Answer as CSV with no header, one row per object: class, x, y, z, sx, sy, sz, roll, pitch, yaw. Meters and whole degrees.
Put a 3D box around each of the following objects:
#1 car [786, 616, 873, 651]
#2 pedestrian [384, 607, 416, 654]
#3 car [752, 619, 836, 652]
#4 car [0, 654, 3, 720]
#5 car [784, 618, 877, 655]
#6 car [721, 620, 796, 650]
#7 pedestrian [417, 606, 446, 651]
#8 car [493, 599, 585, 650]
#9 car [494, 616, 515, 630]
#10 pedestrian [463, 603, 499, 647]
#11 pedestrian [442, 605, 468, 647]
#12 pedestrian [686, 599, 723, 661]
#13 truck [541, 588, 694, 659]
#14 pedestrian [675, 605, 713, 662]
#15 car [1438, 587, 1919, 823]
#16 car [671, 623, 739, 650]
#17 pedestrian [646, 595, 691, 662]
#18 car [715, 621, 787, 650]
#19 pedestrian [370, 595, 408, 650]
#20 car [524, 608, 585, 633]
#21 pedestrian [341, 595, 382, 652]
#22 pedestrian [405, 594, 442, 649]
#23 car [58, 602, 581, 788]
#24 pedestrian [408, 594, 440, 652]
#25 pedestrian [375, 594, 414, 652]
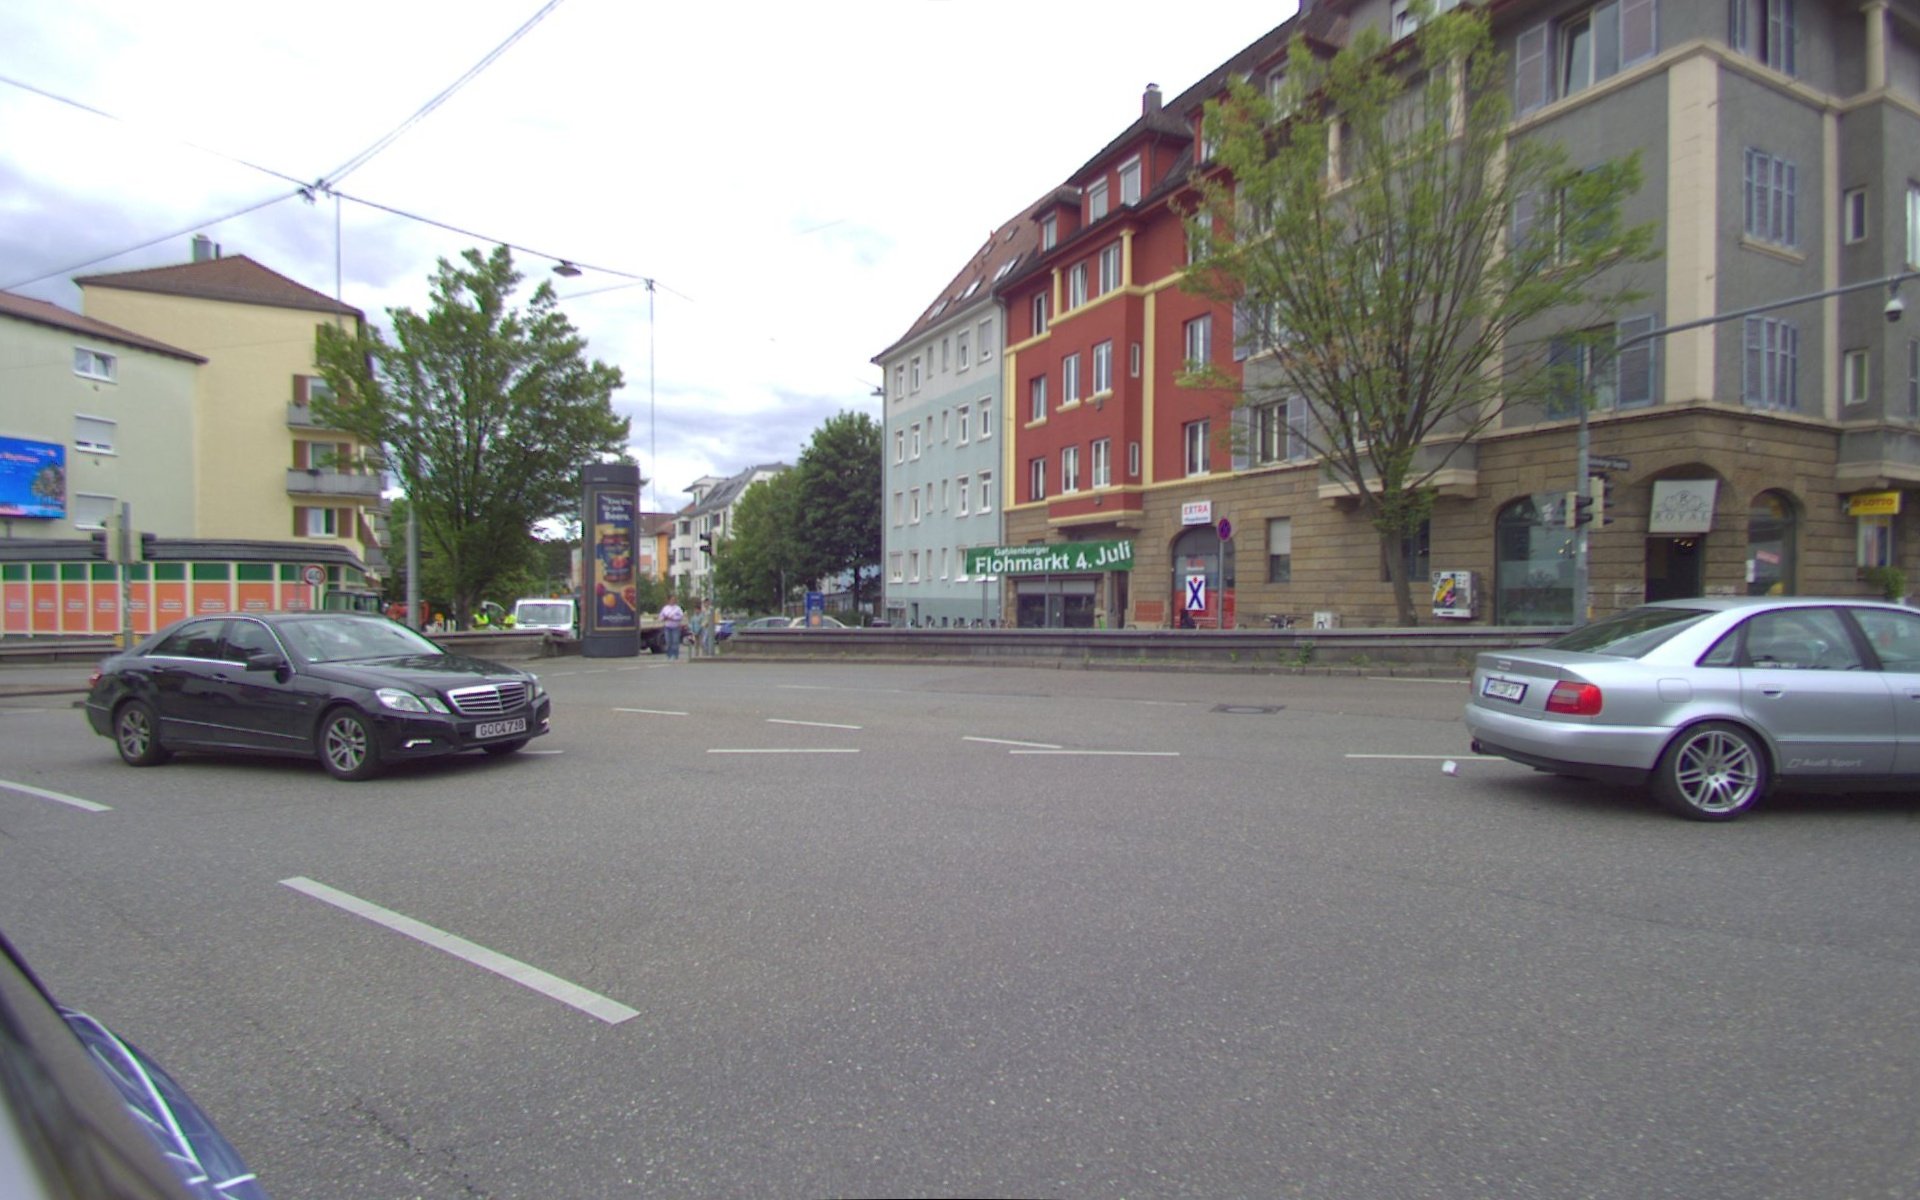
car,-6.444,1.655,50.068,3.889,1.611,1.887,-1,0,10
pedestrian,-19.624,1.055,35.489,0.853,1.631,0.921,-1,0,-23
car,-8.616,1.827,52.634,3.889,1.611,1.887,-1,0,10
car,-16.428,0.951,15.214,4.714,1.626,1.839,0,2,33
car,-5.988,1.673,46.941,3.889,1.611,1.887,-1,0,10
car,-11.510,2.002,57.840,3.880,1.611,1.892,-1,0,2
pedestrian,-19.760,1.038,37.854,0.853,1.631,0.921,-1,0,-23
car,-14.208,0.772,34.429,2.176,1.583,4.489,-1,0,-13
car,-56.727,2.798,126.118,1.861,1.611,3.945,-1,0,-18
pedestrian,-21.979,1.120,46.430,1.263,1.973,0.919,-1,0,31
pedestrian,-20.325,1.023,40.732,0.853,1.631,1.216,-1,0,-23
pedestrian,-6.027,0.696,23.893,0.597,1.443,0.601,-1,0,21
truck,-14.352,1.037,42.905,2.752,2.744,6.411,-2,-2,20
pedestrian,-6.410,0.801,24.394,0.624,1.351,0.659,-1,0,21
car,5.771,0.622,6.822,4.214,1.352,1.704,-2,0,6
car,-16.411,2.325,65.168,3.880,1.611,1.892,-1,0,2
pedestrian,-7.120,0.686,24.748,0.797,1.595,0.701,-1,0,21
car,-12.465,2.091,60.614,3.880,1.611,1.892,-1,0,2
pedestrian,-17.188,0.660,30.484,0.644,1.631,0.768,-1,0,17
car,-30.605,1.542,76.471,1.886,1.717,3.892,-1,0,31
pedestrian,-17.278,0.671,29.224,0.643,1.631,0.769,-1,0,12
pedestrian,-16.162,0.646,30.472,0.649,1.631,0.762,-1,0,37
car,-6.120,0.769,9.663,4.706,1.430,1.829,-1,0,22
pedestrian,-15.377,0.646,29.048,0.550,1.631,0.602,-1,0,19
pedestrian,-16.315,0.658,29.208,0.760,1.631,0.651,-1,0,-4
